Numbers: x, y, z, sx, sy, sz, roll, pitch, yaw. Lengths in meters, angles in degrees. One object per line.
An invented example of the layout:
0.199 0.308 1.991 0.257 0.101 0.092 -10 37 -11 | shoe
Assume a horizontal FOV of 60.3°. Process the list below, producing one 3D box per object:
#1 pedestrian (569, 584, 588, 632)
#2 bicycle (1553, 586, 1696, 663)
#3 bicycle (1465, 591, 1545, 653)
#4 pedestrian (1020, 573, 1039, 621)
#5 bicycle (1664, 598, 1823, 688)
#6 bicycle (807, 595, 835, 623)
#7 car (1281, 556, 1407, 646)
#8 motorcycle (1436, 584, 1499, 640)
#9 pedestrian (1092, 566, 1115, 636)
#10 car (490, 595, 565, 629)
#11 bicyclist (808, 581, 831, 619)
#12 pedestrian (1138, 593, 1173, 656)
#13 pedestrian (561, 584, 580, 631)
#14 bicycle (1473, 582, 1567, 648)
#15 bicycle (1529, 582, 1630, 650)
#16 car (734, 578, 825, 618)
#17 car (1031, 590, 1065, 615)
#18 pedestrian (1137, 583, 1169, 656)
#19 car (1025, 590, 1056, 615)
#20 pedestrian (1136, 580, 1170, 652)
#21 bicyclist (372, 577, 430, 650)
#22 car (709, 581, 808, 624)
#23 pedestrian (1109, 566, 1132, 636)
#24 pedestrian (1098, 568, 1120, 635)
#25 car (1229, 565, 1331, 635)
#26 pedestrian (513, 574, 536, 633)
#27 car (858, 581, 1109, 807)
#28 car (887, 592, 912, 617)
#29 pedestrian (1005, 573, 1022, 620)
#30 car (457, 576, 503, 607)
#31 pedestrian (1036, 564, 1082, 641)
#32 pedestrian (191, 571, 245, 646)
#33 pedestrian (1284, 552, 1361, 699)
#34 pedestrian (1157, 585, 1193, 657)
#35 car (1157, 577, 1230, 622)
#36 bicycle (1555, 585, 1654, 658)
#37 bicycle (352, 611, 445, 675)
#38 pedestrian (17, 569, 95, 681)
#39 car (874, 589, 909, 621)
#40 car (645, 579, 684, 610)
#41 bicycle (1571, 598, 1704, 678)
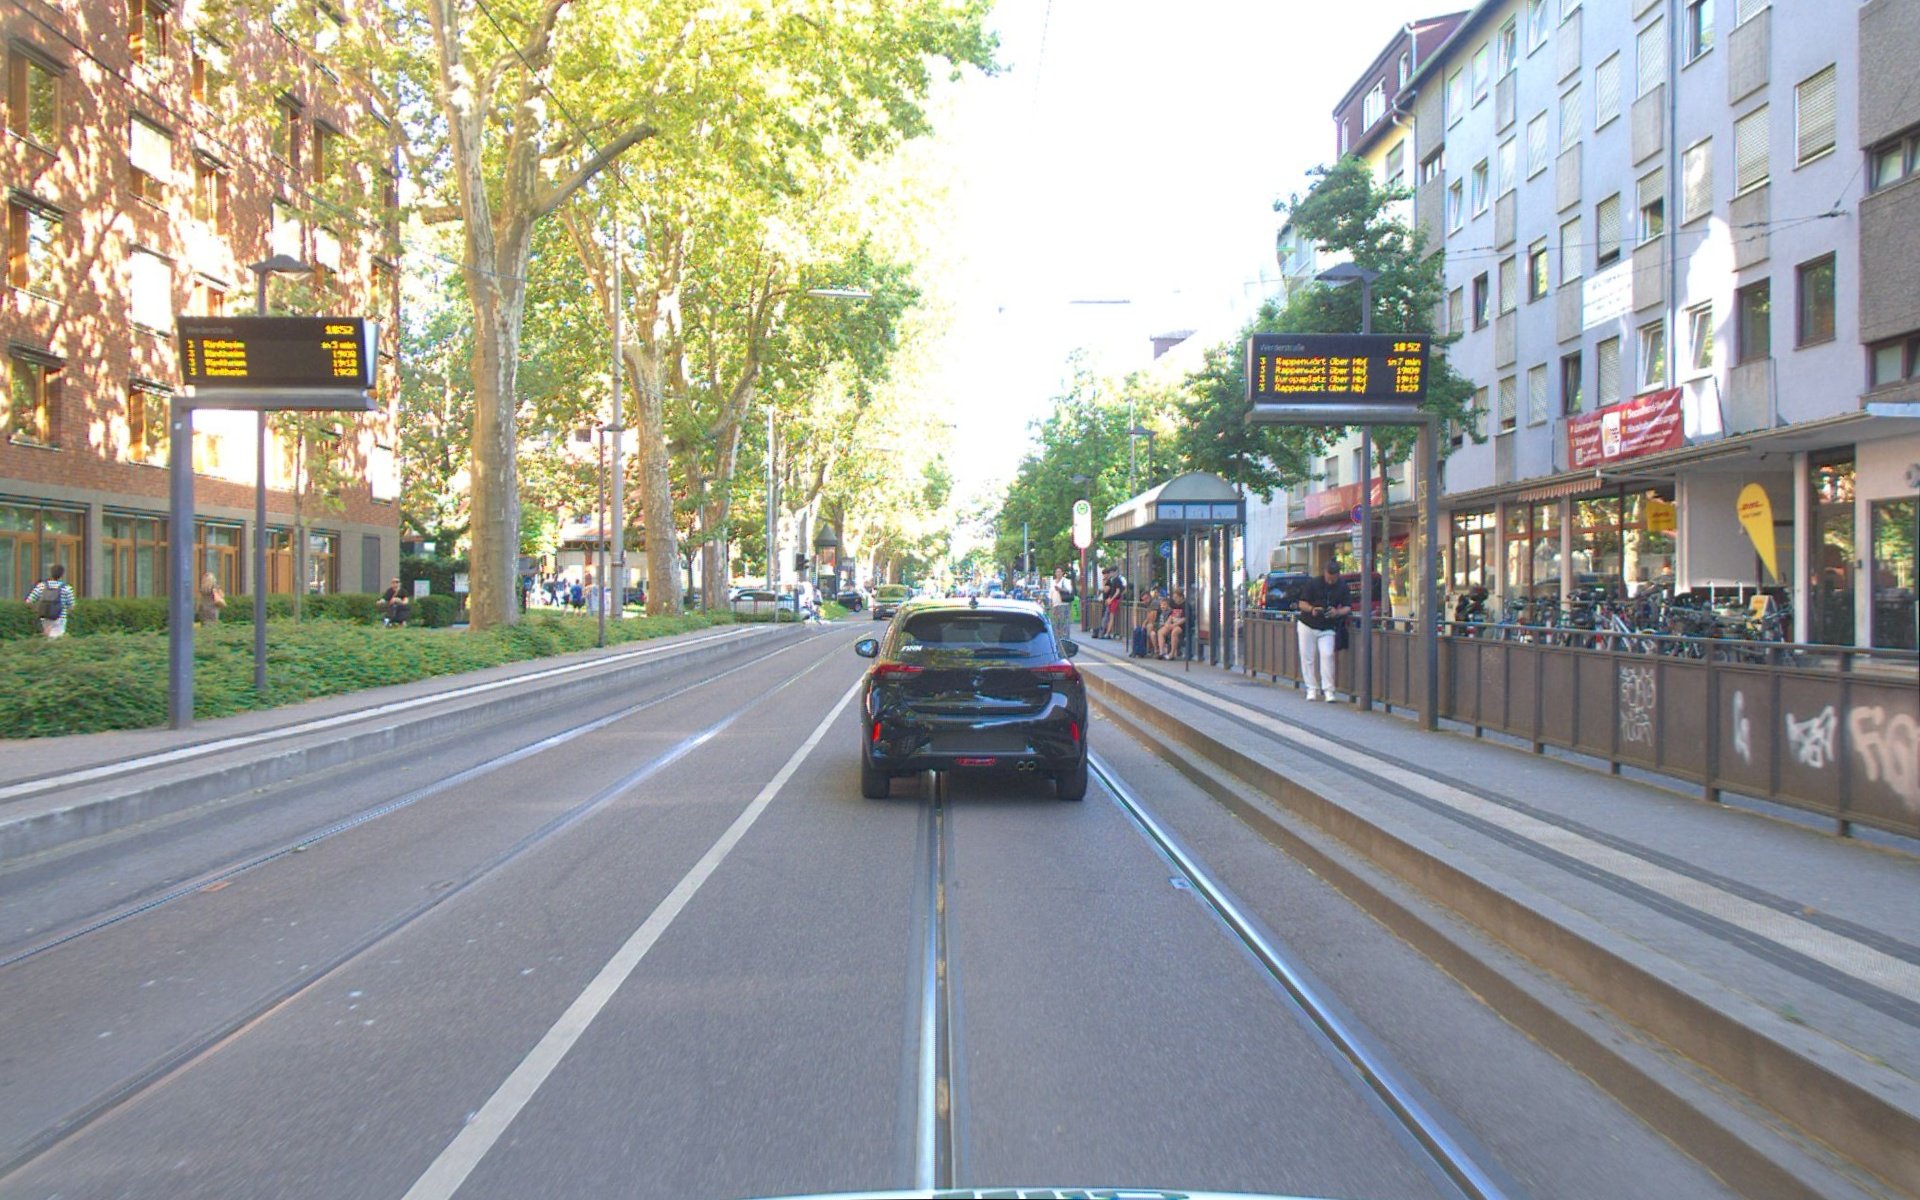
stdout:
-16.026 0.318 69.514 0.659 1.984 0.497 2 0 -4 | pedestrian
10.507 0.370 26.297 0.600 1.156 2.913 1 0 -12 | bicycle
10.412 0.409 31.701 0.586 1.156 2.201 1 0 -7 | bicycle
3.053 -0.140 72.750 0.661 2.048 0.702 2 1 11 | pedestrian
10.620 0.556 22.532 0.610 1.156 2.432 1 0 -12 | bicycle
-6.438 0.412 76.753 0.935 1.262 2.978 1 0 2 | bicycle
9.004 0.030 39.085 1.953 1.986 3.999 1 0 -2 | car
12.302 0.281 40.157 0.874 1.302 2.042 1 0 -1 | motorcycle
3.617 0.034 41.804 0.520 1.739 0.752 1 0 1 | pedestrian
-27.275 0.757 104.308 4.163 2.049 2.000 1 0 -1 | car
-6.456 0.006 75.965 0.921 1.732 1.153 1 0 2 | bicyclist
3.503 0.442 29.673 0.523 1.119 0.550 1 0 -5 | pedestrian
-16.562 0.319 70.346 0.659 1.984 0.497 2 0 -4 | pedestrian
10.230 0.270 30.289 0.587 1.156 2.197 1 0 -12 | bicycle
10.940 0.277 29.292 0.587 1.156 2.197 1 0 -12 | bicycle
-8.782 -0.101 80.166 4.302 1.884 1.996 1 0 -8 | car
5.830 0.171 110.190 1.953 1.661 3.999 1 0 -1 | car
3.522 0.358 30.208 0.493 1.327 0.428 1 0 -5 | pedestrian
5.634 0.180 116.290 1.953 1.661 3.999 1 0 -1 | car
3.585 0.296 30.761 0.523 1.327 0.550 1 0 -5 | pedestrian
-11.746 0.278 34.772 0.935 1.518 0.837 1 0 -1 | bicyclist
-8.461 0.098 69.388 4.037 1.730 1.880 1 0 -8 | car
4.137 0.020 42.575 0.520 1.793 0.661 1 0 1 | pedestrian
3.905 0.046 43.313 0.520 1.739 0.596 1 0 1 | pedestrian
8.839 0.008 45.964 1.953 1.829 3.999 1 0 -2 | car
-14.848 0.110 56.340 0.486 1.984 0.675 1 0 11 | pedestrian
0.074 0.648 13.236 1.725 1.534 3.681 -1 0 -3 | car
-4.254 0.306 115.903 1.749 1.723 3.998 1 0 -3 | car
2.384 -0.164 73.228 0.661 2.048 0.701 2 1 5 | pedestrian
-32.342 -0.546 111.628 1.953 2.049 3.999 1 0 -1 | car
2.257 0.055 37.624 0.736 1.739 0.761 0 0 34 | pedestrian
-16.426 0.182 36.616 0.759 1.633 0.946 1 0 -1 | pedestrian
4.094 0.282 18.726 0.618 1.603 0.870 2 0 -1 | pedestrian
3.791 0.369 29.158 0.523 1.252 0.510 1 0 -5 | pedestrian
8.203 0.003 58.441 1.953 1.512 3.999 1 0 -1 | car
10.747 0.345 27.662 0.403 1.156 2.197 1 0 -12 | bicycle
-11.737 0.882 34.702 0.935 1.262 2.977 1 0 -1 | bicycle
-14.092 0.386 25.801 0.720 1.701 0.860 1 0 -1 | pedestrian
-3.467 0.257 83.796 1.710 1.571 3.998 1 0 -3 | car
-20.070 -0.384 112.496 1.953 2.049 3.999 1 0 -1 | car
10.174 0.545 24.947 0.592 1.156 2.427 1 0 -12 | bicycle
